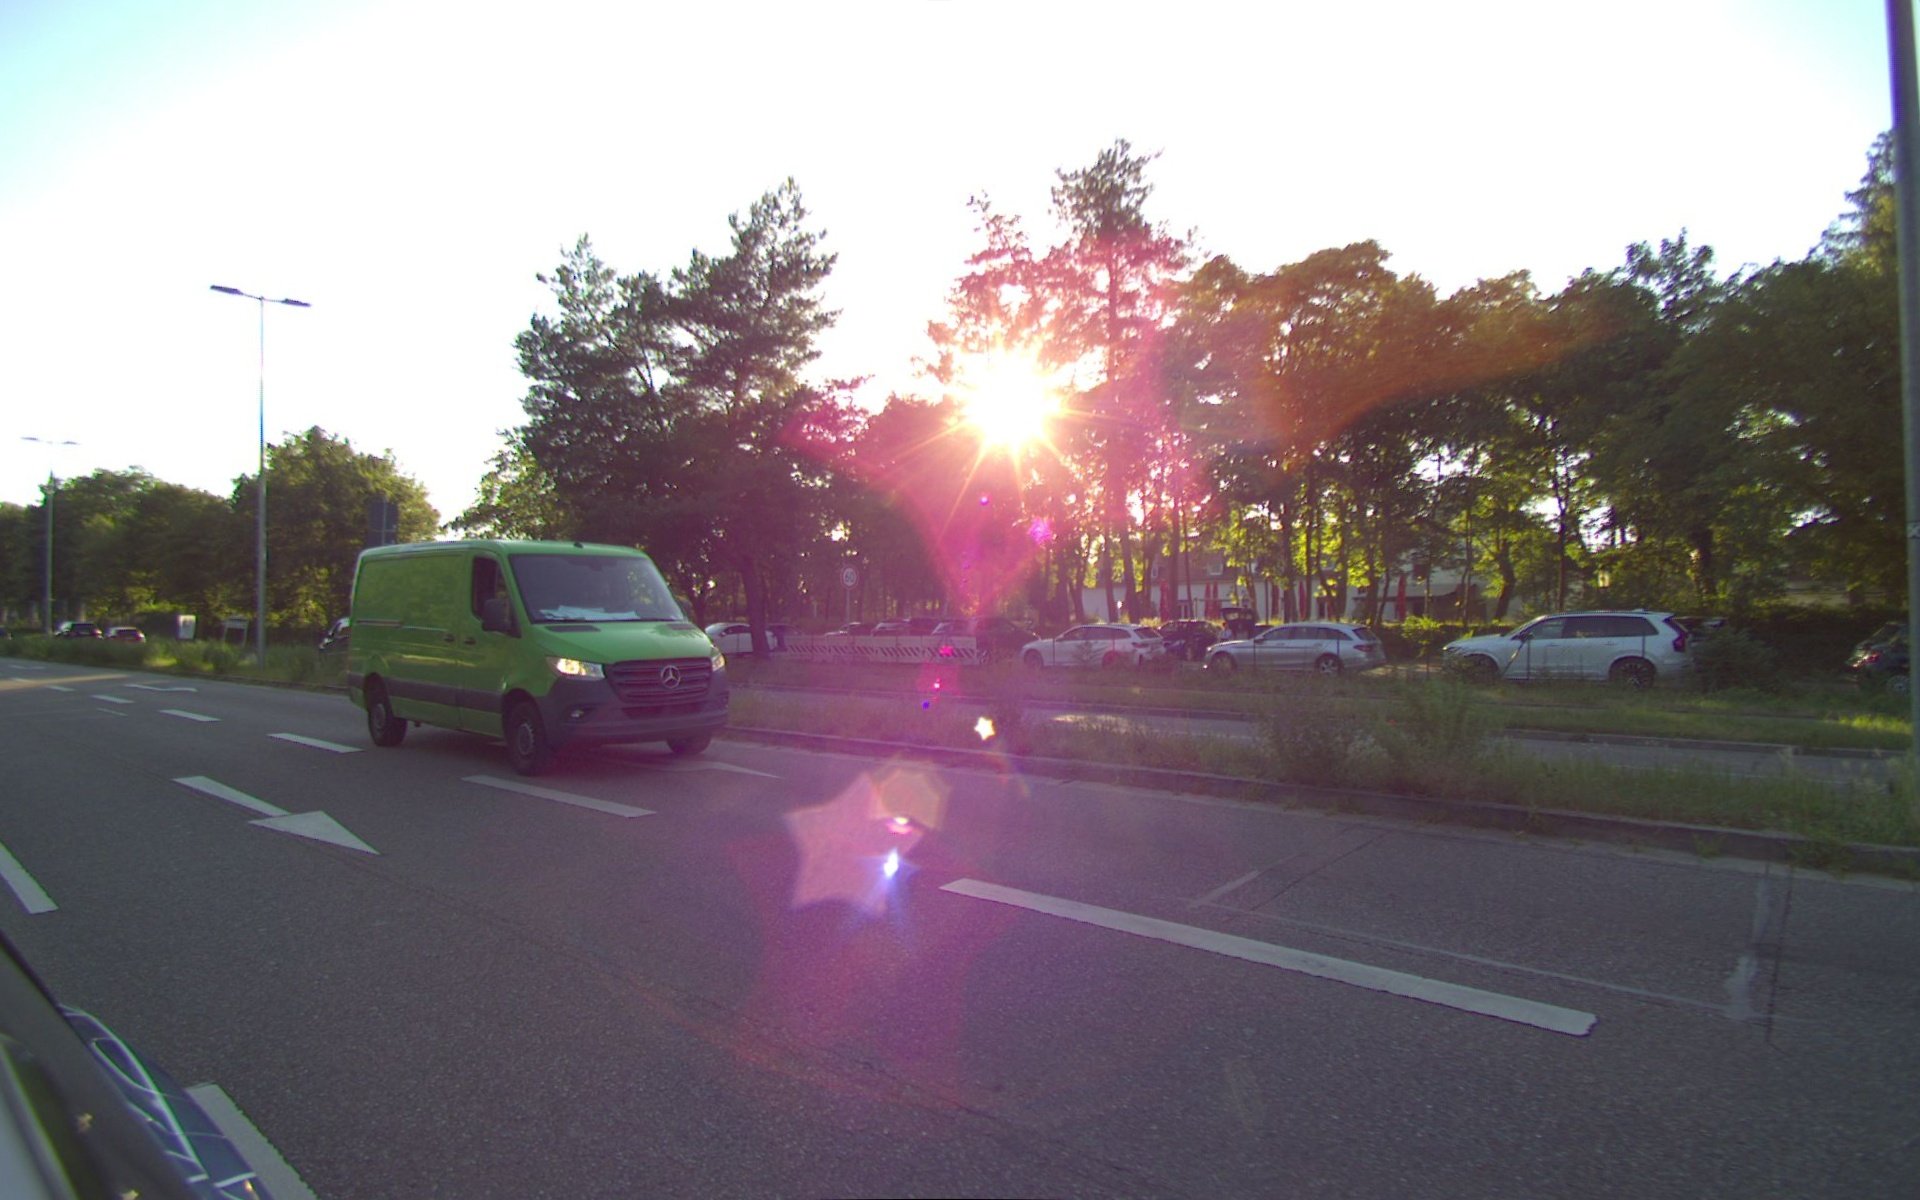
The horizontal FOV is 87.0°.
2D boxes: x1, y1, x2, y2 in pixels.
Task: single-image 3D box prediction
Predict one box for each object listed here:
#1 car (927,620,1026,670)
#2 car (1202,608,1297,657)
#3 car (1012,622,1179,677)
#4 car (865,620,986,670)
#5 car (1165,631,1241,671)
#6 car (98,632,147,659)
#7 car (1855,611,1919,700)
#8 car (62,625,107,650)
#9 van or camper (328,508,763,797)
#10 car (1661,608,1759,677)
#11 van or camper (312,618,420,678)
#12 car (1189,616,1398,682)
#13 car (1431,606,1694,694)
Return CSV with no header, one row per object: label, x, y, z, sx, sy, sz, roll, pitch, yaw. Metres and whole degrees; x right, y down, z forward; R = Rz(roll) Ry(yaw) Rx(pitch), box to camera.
car,0.562,1.430,32.916,1.658,1.538,3.059,-2,-2,40
car,10.468,1.166,36.468,1.766,1.663,3.945,-2,-3,41
car,4.076,1.472,30.845,4.704,1.560,1.974,-2,-2,38
car,-1.140,1.547,35.573,1.769,1.629,4.468,-2,-2,39
car,9.161,1.879,37.968,1.461,1.266,3.279,-2,0,40
car,-52.838,2.832,63.813,3.998,1.552,1.738,-1,0,41
car,18.889,0.999,18.347,3.809,1.609,1.837,-2,-2,37
car,-59.354,2.502,68.590,3.998,1.552,1.738,-1,0,41
van or camper,-4.835,0.528,11.217,5.891,2.439,1.973,-2,-2,40
car,19.564,1.092,26.519,1.915,1.663,3.952,-2,-2,35
van or camper,-21.678,1.711,36.889,4.574,2.029,1.973,-2,-2,40
car,8.823,1.278,26.997,4.915,1.619,1.974,-2,-2,38
car,13.628,1.104,23.064,4.915,1.800,1.974,-2,-2,38
